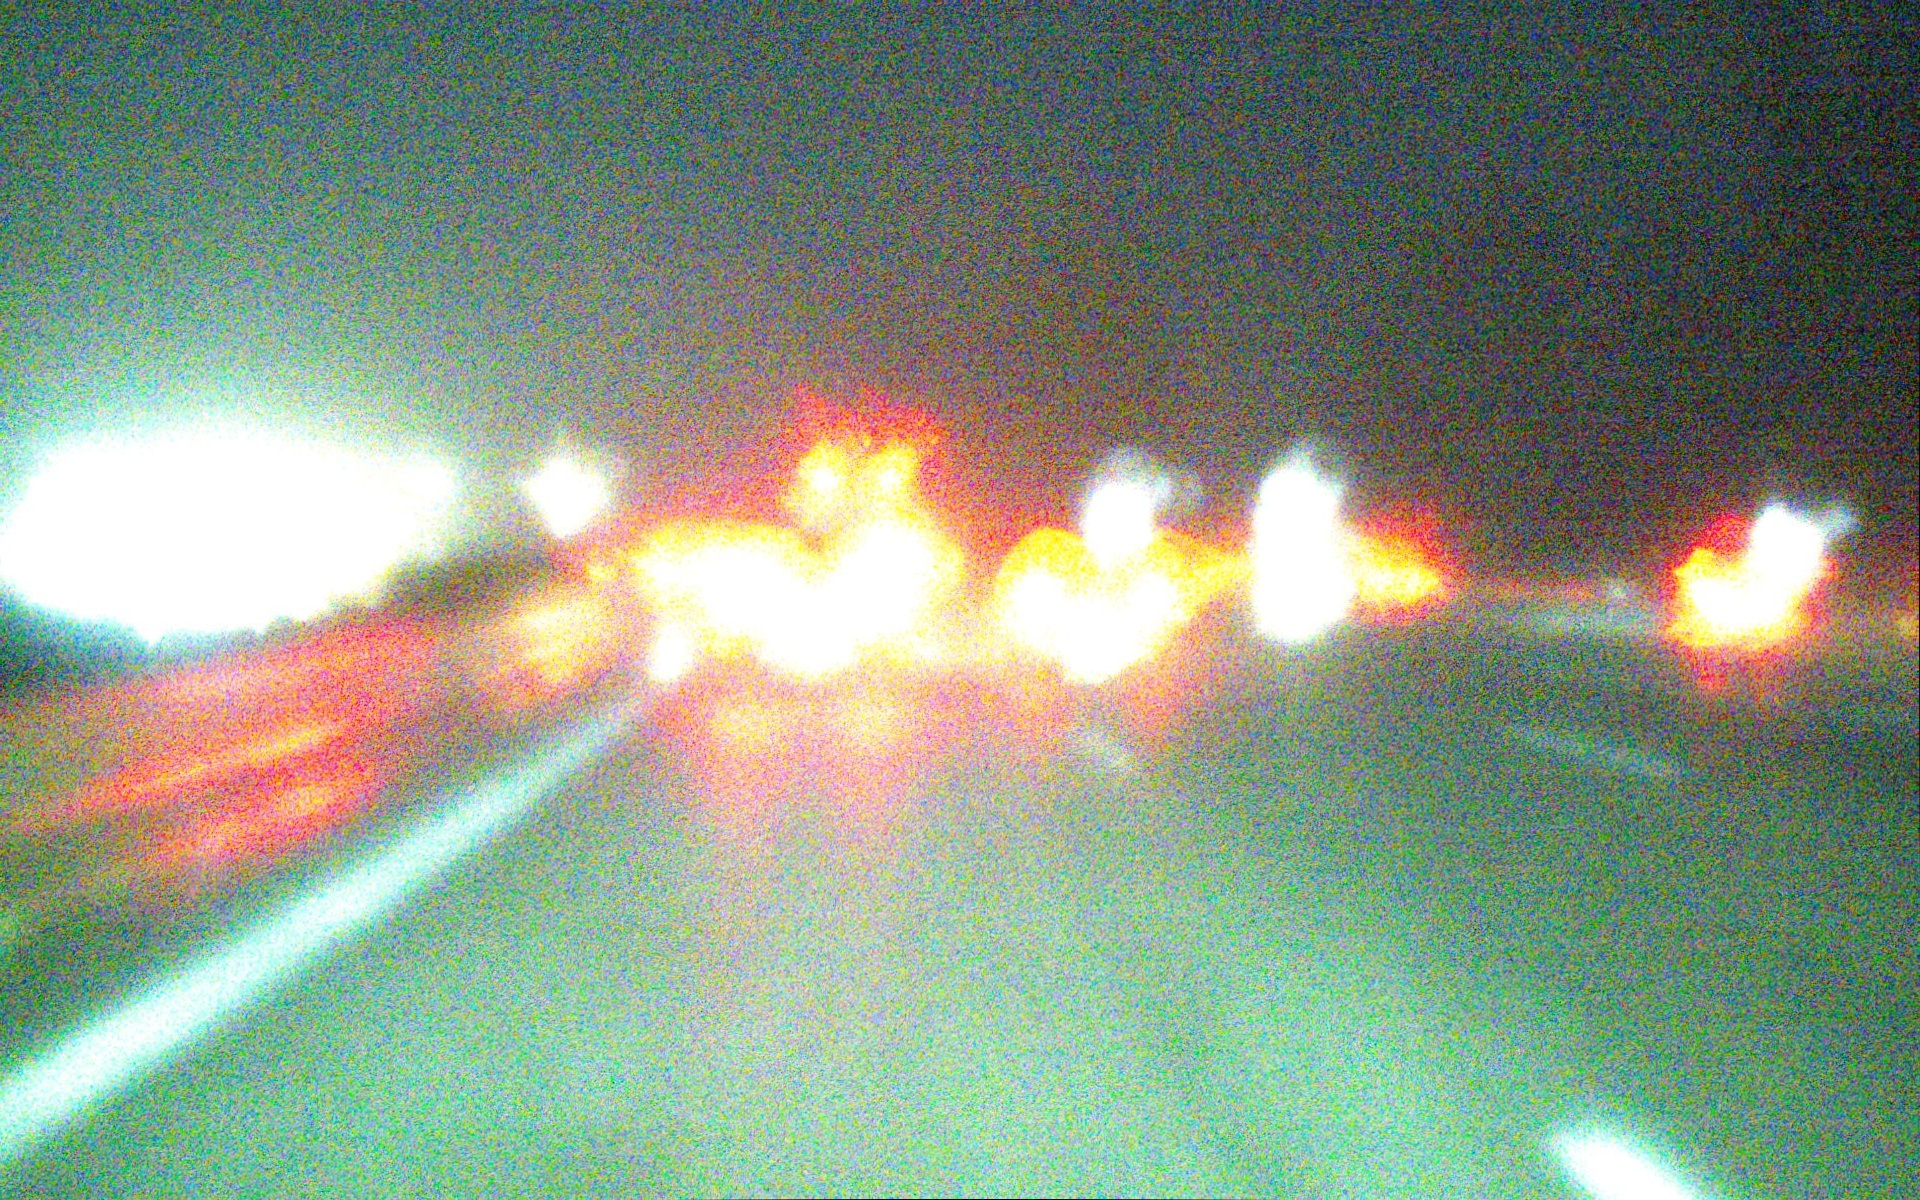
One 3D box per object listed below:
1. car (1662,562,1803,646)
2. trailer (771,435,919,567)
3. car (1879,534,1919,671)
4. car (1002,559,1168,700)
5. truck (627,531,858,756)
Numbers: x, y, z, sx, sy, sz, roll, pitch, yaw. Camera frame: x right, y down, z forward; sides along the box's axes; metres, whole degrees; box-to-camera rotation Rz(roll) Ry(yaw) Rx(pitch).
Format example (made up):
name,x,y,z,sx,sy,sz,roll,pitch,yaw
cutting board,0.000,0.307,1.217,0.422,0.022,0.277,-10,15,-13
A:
name,x,y,z,sx,sy,sz,roll,pitch,yaw
car,16.631,0.062,74.173,1.993,1.595,4.000,3,1,-1
trailer,-4.177,-3.448,120.742,2.738,4.233,13.376,3,1,-12
car,15.507,0.049,52.238,2.233,2.006,4.000,2,2,5
car,1.507,0.324,42.800,1.800,1.612,4.257,-1,1,-1
truck,-2.273,0.365,36.900,2.145,2.070,6.604,3,1,-3
